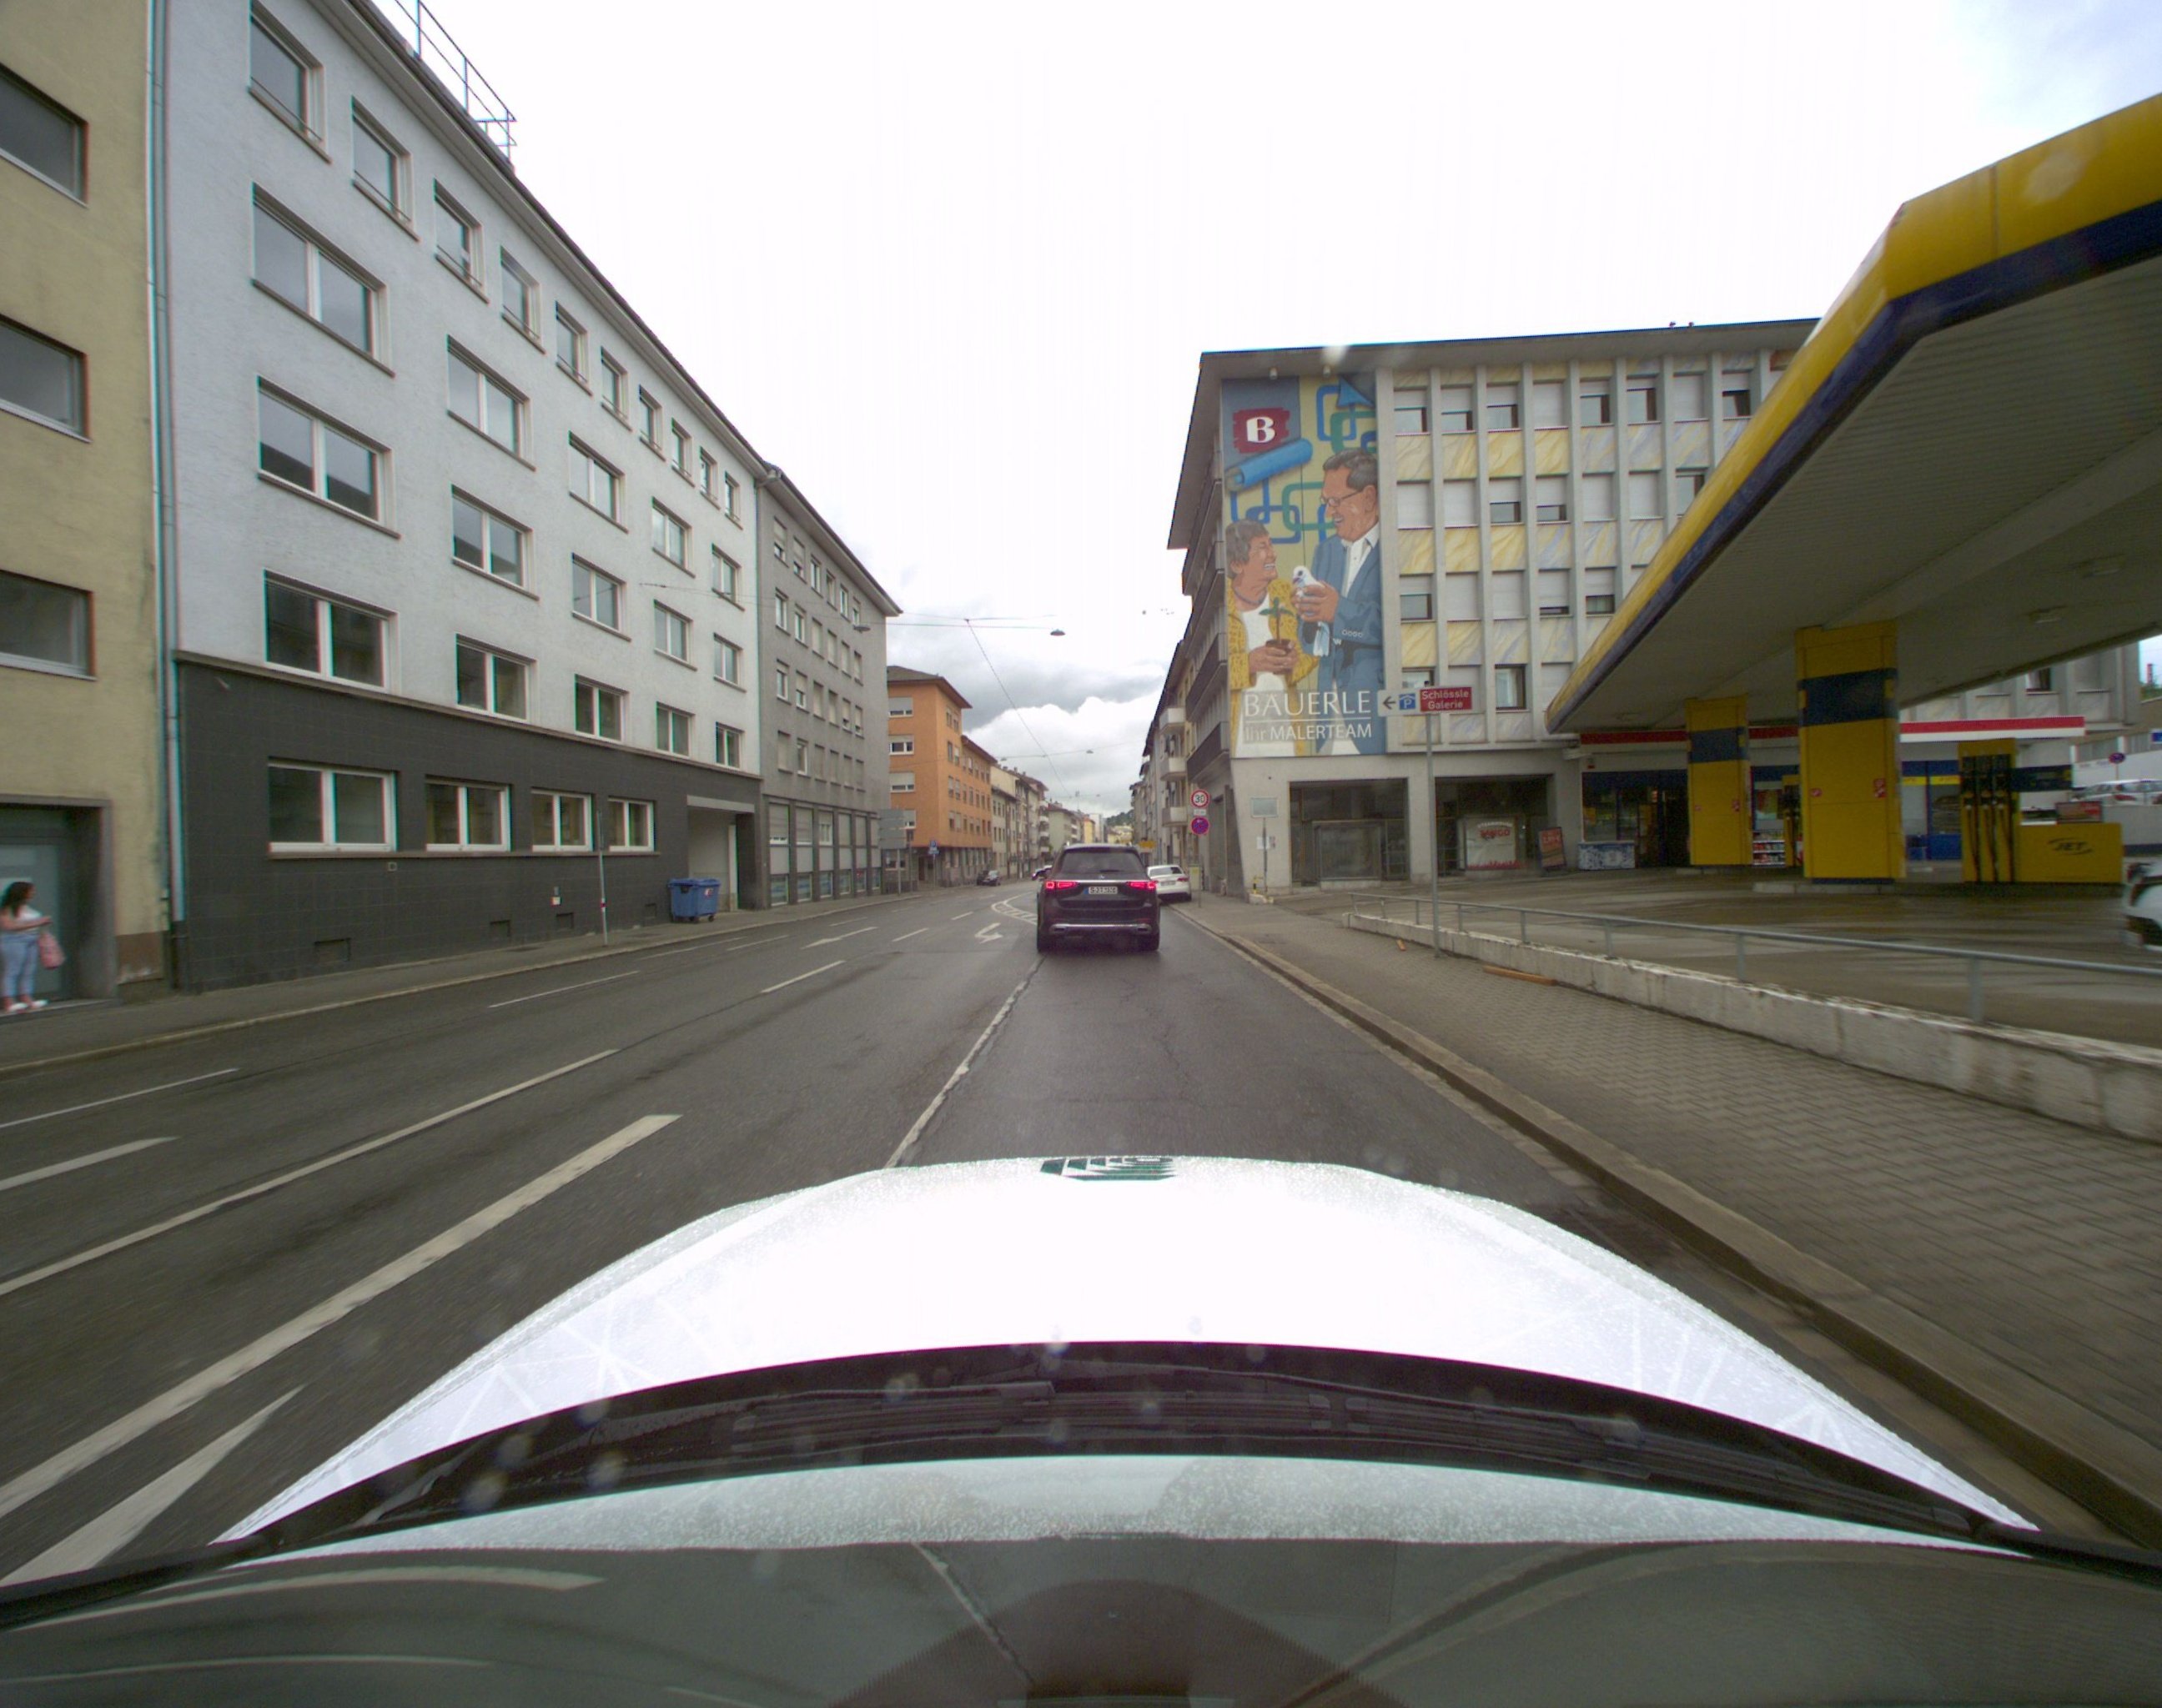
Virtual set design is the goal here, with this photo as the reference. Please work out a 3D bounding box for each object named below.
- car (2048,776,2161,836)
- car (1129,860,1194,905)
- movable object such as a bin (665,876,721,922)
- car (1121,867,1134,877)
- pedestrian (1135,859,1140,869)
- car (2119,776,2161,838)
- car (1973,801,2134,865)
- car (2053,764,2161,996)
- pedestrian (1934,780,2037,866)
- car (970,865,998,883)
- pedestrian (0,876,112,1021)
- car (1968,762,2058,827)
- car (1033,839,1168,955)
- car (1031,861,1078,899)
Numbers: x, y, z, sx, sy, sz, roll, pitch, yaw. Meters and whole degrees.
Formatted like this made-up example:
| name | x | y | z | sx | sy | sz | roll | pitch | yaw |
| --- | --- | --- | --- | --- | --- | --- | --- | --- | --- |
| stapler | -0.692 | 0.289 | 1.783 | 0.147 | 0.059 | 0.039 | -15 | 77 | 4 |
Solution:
| name | x | y | z | sx | sy | sz | roll | pitch | yaw |
| --- | --- | --- | --- | --- | --- | --- | --- | --- | --- |
| car | 37.120 | -1.650 | 29.018 | 1.974 | 1.865 | 4.608 | -1 | 0 | 30 |
| car | 3.042 | 1.040 | 31.691 | 1.887 | 1.402 | 4.607 | -7 | 0 | 0 |
| movable object such as a bin | -11.635 | 1.330 | 24.474 | 1.072 | 1.324 | 1.191 | 0 | 0 | 2 |
| car | 6.966 | 2.631 | 122.198 | 1.728 | 1.388 | 4.583 | 0 | 0 | 1 |
| pedestrian | 8.600 | 1.494 | 124.299 | 0.817 | 1.565 | 0.901 | 0 | -1 | 5 |
| car | 33.976 | -1.473 | 24.395 | 1.974 | 1.865 | 4.608 | -1 | 0 | 30 |
| car | 26.906 | -0.524 | 22.726 | 1.974 | 1.516 | 4.446 | -4 | -3 | 39 |
| car | 8.558 | 0.029 | 4.450 | 1.756 | 1.442 | 3.950 | -3 | -2 | -44 |
| pedestrian | 20.027 | -0.652 | 18.067 | 0.651 | 1.797 | 1.287 | -3 | -1 | -9 |
| car | -8.384 | 1.710 | 70.701 | 1.885 | 1.458 | 4.549 | 0 | 0 | 0 |
| pedestrian | -12.764 | 1.129 | 10.014 | 0.714 | 1.689 | 0.812 | 0 | -1 | 4 |
| car | 59.004 | -3.690 | 51.704 | 2.353 | 3.688 | 5.025 | -1 | -1 | 32 |
| car | 0.228 | 0.665 | 14.852 | 2.071 | 1.765 | 4.607 | 0 | 0 | -2 |
| car | -1.083 | 1.060 | 35.018 | 1.887 | 1.510 | 4.172 | 1 | 0 | 0 |
